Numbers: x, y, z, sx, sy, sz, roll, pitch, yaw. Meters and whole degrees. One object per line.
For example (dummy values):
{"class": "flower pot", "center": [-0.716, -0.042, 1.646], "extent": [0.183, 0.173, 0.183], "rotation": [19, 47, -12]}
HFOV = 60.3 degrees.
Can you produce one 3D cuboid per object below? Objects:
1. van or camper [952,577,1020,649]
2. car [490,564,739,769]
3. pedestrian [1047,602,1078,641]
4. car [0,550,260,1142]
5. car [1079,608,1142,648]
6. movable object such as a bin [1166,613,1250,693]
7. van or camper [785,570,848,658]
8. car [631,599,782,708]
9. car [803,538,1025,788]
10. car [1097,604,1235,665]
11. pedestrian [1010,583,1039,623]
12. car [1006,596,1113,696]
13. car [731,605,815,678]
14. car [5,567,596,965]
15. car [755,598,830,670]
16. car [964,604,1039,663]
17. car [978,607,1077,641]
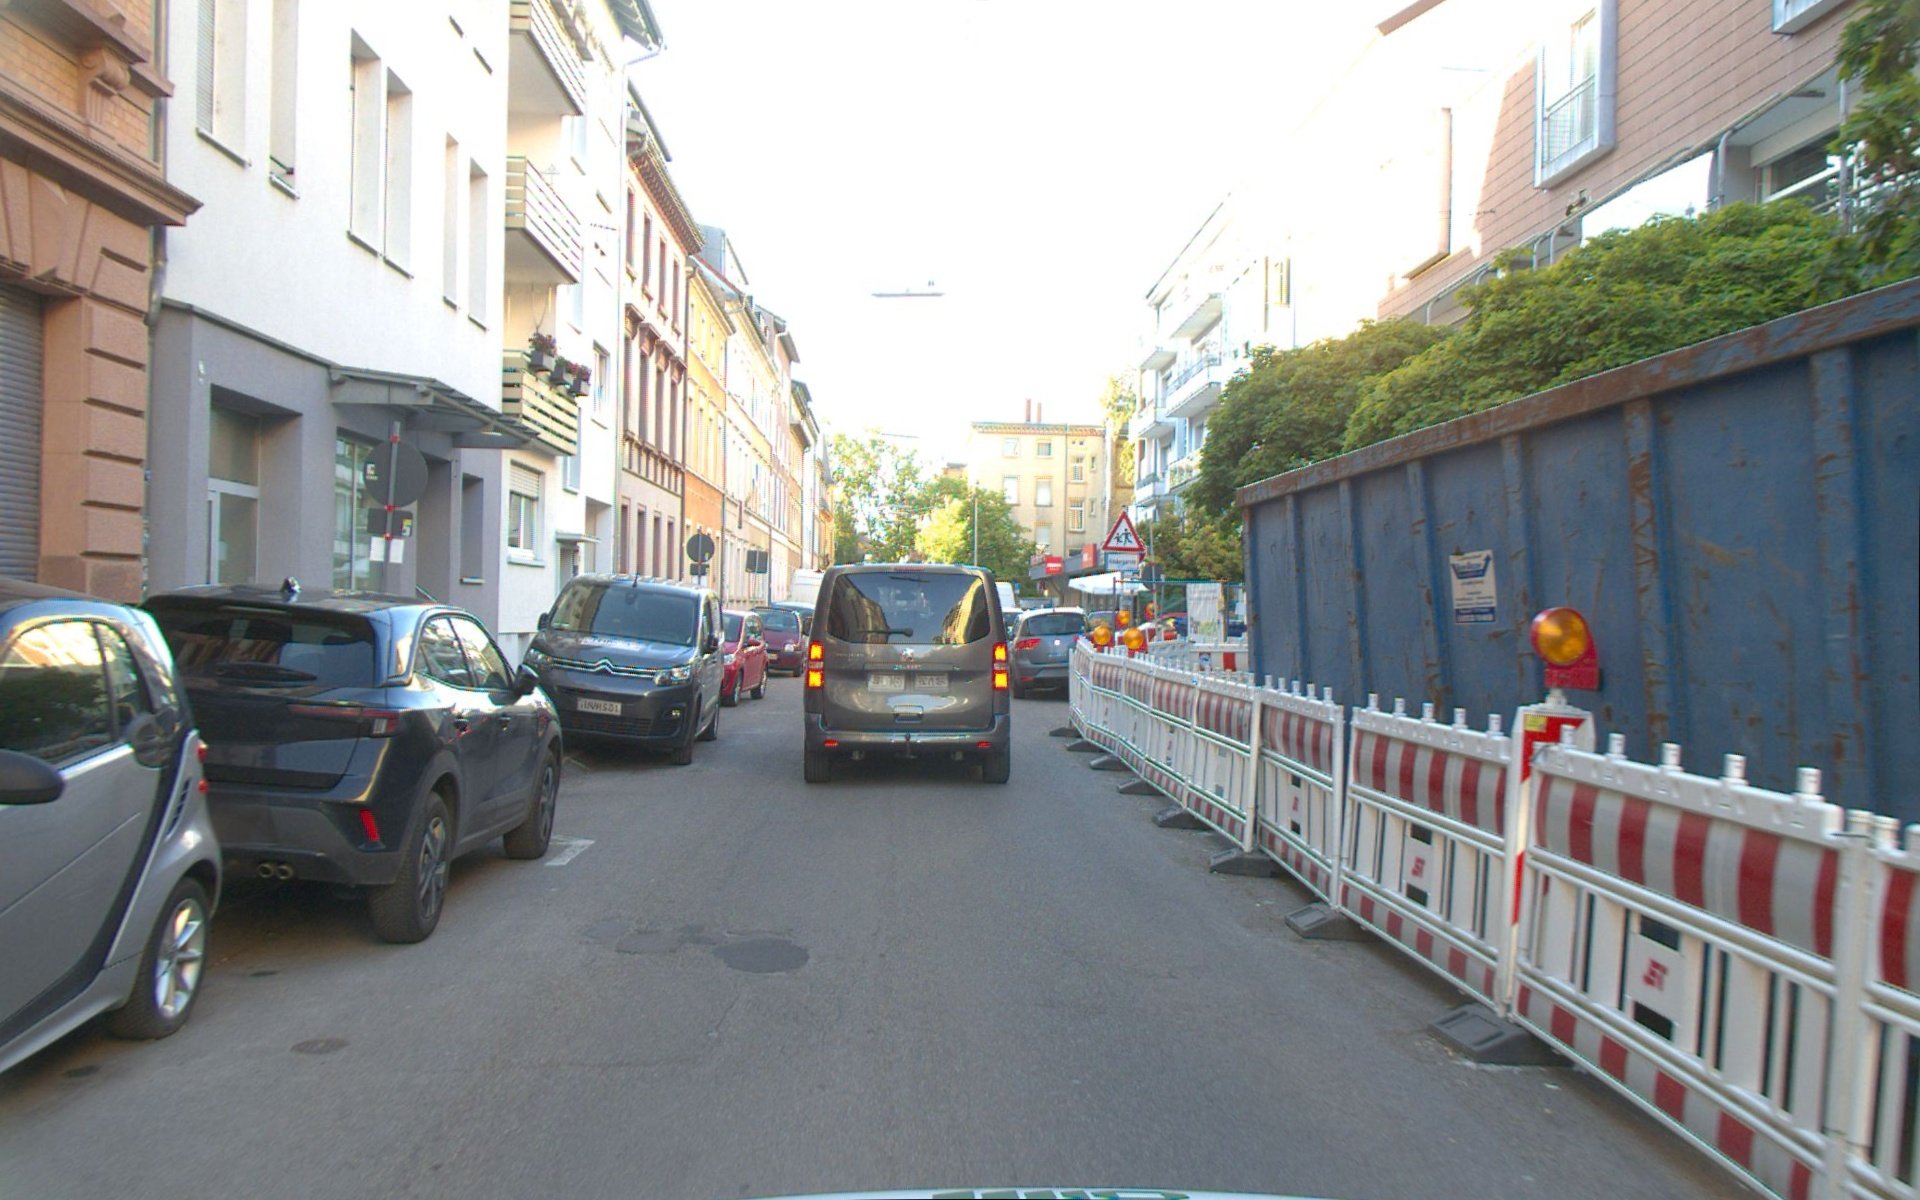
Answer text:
{"class": "van or camper", "center": [0.945, 0.499, 64.814], "extent": [2.058, 2.648, 7.506], "rotation": [0, 0, -4]}
{"class": "car", "center": [-3.566, 0.640, 17.923], "extent": [1.954, 1.891, 4.581], "rotation": [2, 0, -4]}
{"class": "pedestrian", "center": [4.573, 0.957, 73.868], "extent": [0.925, 1.751, 1.049], "rotation": [0, -1, -36]}
{"class": "car", "center": [-3.302, 0.655, 4.864], "extent": [1.368, 1.616, 2.792], "rotation": [1, 0, -3]}
{"class": "car", "center": [5.672, 1.024, 62.106], "extent": [1.567, 1.441, 3.229], "rotation": [0, 0, 20]}
{"class": "movable object such as a bin", "center": [4.503, 0.962, 30.039], "extent": [1.236, 1.400, 0.794], "rotation": [3, -1, -28]}
{"class": "van or camper", "center": [-4.661, 0.432, 54.318], "extent": [1.911, 2.696, 7.134], "rotation": [0, 0, -4]}
{"class": "car", "center": [-4.108, 0.837, 27.320], "extent": [1.635, 1.511, 3.607], "rotation": [6, 0, 3]}
{"class": "car", "center": [-0.485, 0.519, 15.780], "extent": [1.820, 2.049, 3.997], "rotation": [-1, 0, -3]}
{"class": "car", "center": [6.165, 1.029, 49.763], "extent": [3.818, 1.635, 1.693], "rotation": [2, -1, -4]}
{"class": "pedestrian", "center": [2.593, 0.134, 66.508], "extent": [0.859, 1.583, 0.869], "rotation": [-1, 0, -24]}
{"class": "car", "center": [1.823, 0.821, 31.534], "extent": [1.713, 1.713, 4.525], "rotation": [2, 0, 0]}
{"class": "car", "center": [-4.238, 0.907, 37.781], "extent": [1.624, 1.473, 3.283], "rotation": [4, -1, -3]}
{"class": "car", "center": [-3.190, 0.704, 8.919], "extent": [1.705, 1.627, 4.012], "rotation": [2, 0, -3]}
{"class": "car", "center": [-4.304, 0.852, 42.890], "extent": [1.677, 1.673, 3.976], "rotation": [4, 0, -4]}
{"class": "car", "center": [1.177, 0.959, 48.757], "extent": [1.689, 1.640, 4.584], "rotation": [1, -1, -5]}
{"class": "car", "center": [3.206, 1.147, 79.070], "extent": [4.533, 1.491, 1.840], "rotation": [-2, 0, -3]}
